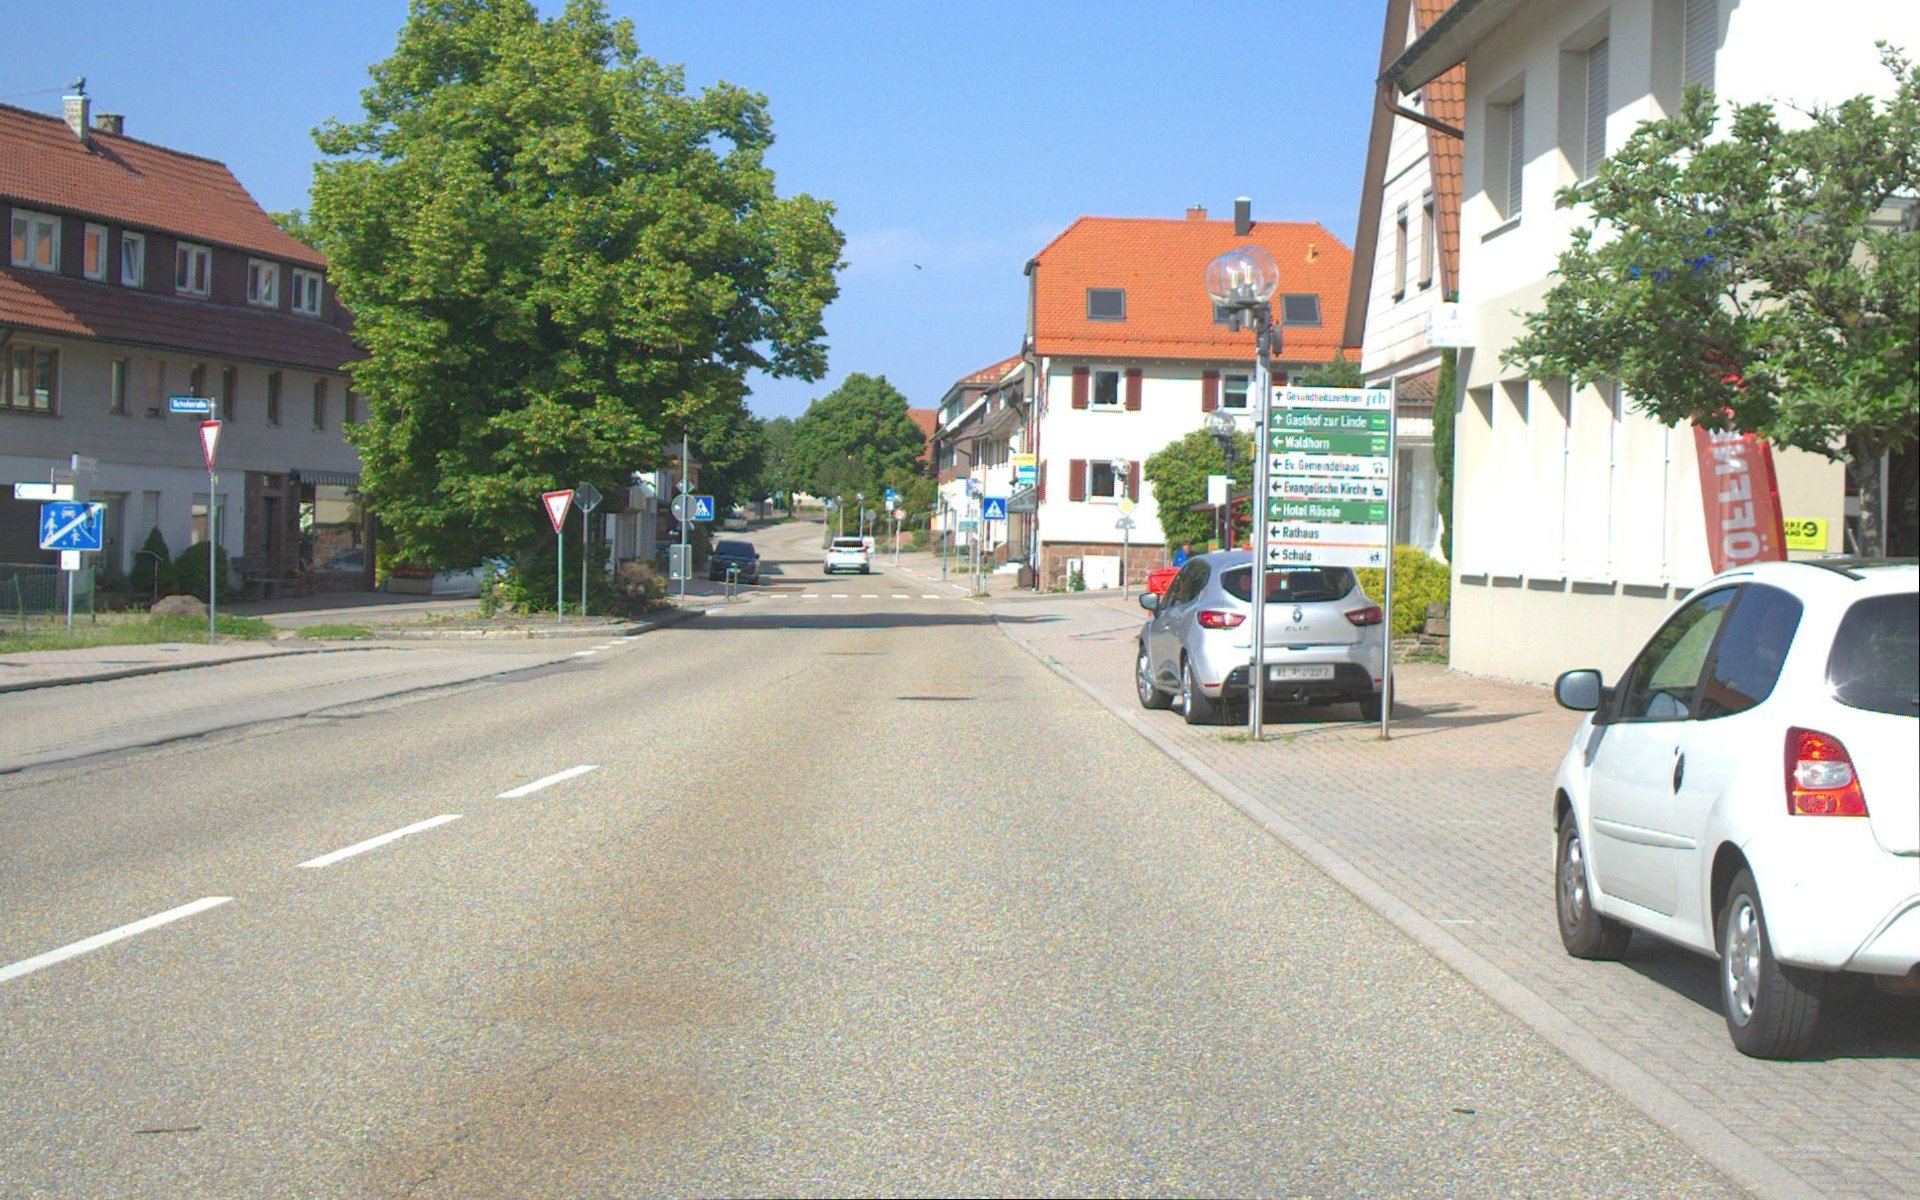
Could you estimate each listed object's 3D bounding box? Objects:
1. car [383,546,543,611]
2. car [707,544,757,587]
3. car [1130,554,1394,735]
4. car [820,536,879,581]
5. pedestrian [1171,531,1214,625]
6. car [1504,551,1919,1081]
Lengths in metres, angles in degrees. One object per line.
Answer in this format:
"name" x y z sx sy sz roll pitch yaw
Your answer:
"car" -13.000 -0.551 89.980 3.761 1.449 1.816 -1 -4 11
"car" -9.005 -1.375 135.954 1.672 1.528 3.536 5 1 -1
"car" 2.555 0.333 29.883 1.635 1.415 3.936 -1 1 -4
"car" -5.182 -1.920 160.300 2.495 2.007 4.305 -2 1 -4
"pedestrian" 4.423 -0.421 65.519 0.799 1.778 0.979 0 1 4
"car" 3.025 0.572 11.369 1.760 1.418 3.634 -1 1 -2
